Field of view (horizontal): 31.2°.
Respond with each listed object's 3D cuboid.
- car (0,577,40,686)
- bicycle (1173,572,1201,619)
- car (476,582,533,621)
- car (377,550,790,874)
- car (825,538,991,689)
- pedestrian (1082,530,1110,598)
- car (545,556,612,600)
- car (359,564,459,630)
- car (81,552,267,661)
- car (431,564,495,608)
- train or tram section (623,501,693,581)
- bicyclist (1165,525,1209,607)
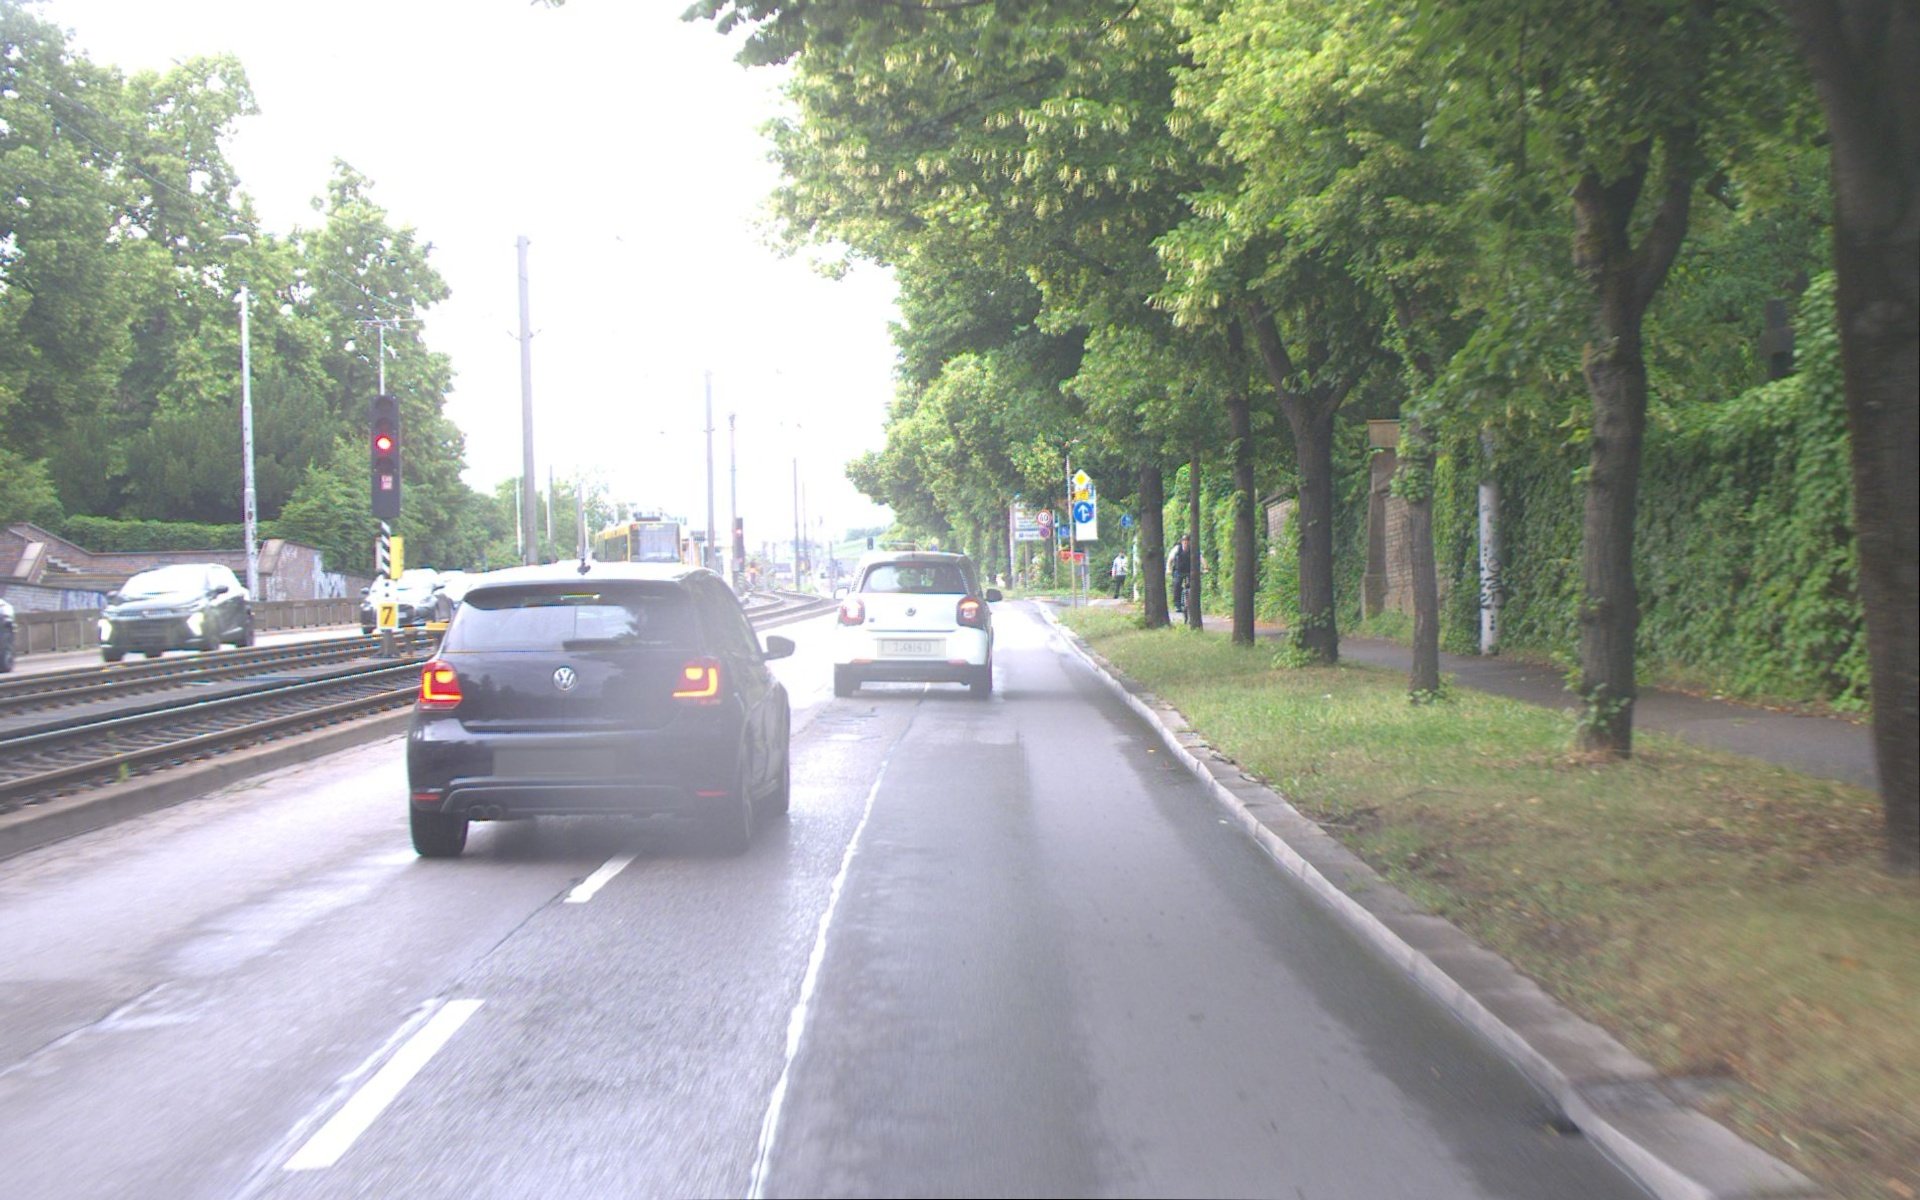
[{"bbox_3d":[-15.774,0.526,52.424,2.013,1.650,4.616,-1,1,3],"label":"car"},{"bbox_3d":[4.518,-0.092,68.440,0.407,0.899,2.099,-1,1,0],"label":"bicycle"},{"bbox_3d":[-17.671,0.059,133.493,1.728,1.438,4.000,0,1,0],"label":"car"},{"bbox_3d":[-1.863,0.497,18.113,1.794,1.480,3.965,0,1,-1],"label":"car"},{"bbox_3d":[-0.520,0.111,37.336,1.676,1.525,3.722,1,1,1],"label":"car"},{"bbox_3d":[5.951,-1.575,150.429,1.164,2.967,0.948,0,1,0],"label":"pedestrian"},{"bbox_3d":[-14.618,-0.864,131.924,1.993,1.656,5.127,0,1,0],"label":"car"},{"bbox_3d":[-12.880,-0.095,80.567,1.681,1.456,3.608,-1,1,1],"label":"car"},{"bbox_3d":[-12.778,0.074,56.130,1.835,1.650,4.239,-1,1,3],"label":"car"},{"bbox_3d":[-16.930,-0.486,117.199,1.616,1.429,4.000,0,1,0],"label":"car"},{"bbox_3d":[-13.856,-2.713,158.198,2.832,3.593,9.272,0,1,-3],"label":"train or tram section"},{"bbox_3d":[4.516,-0.679,68.434,0.763,1.610,0.999,-1,1,0],"label":"bicyclist"}]
